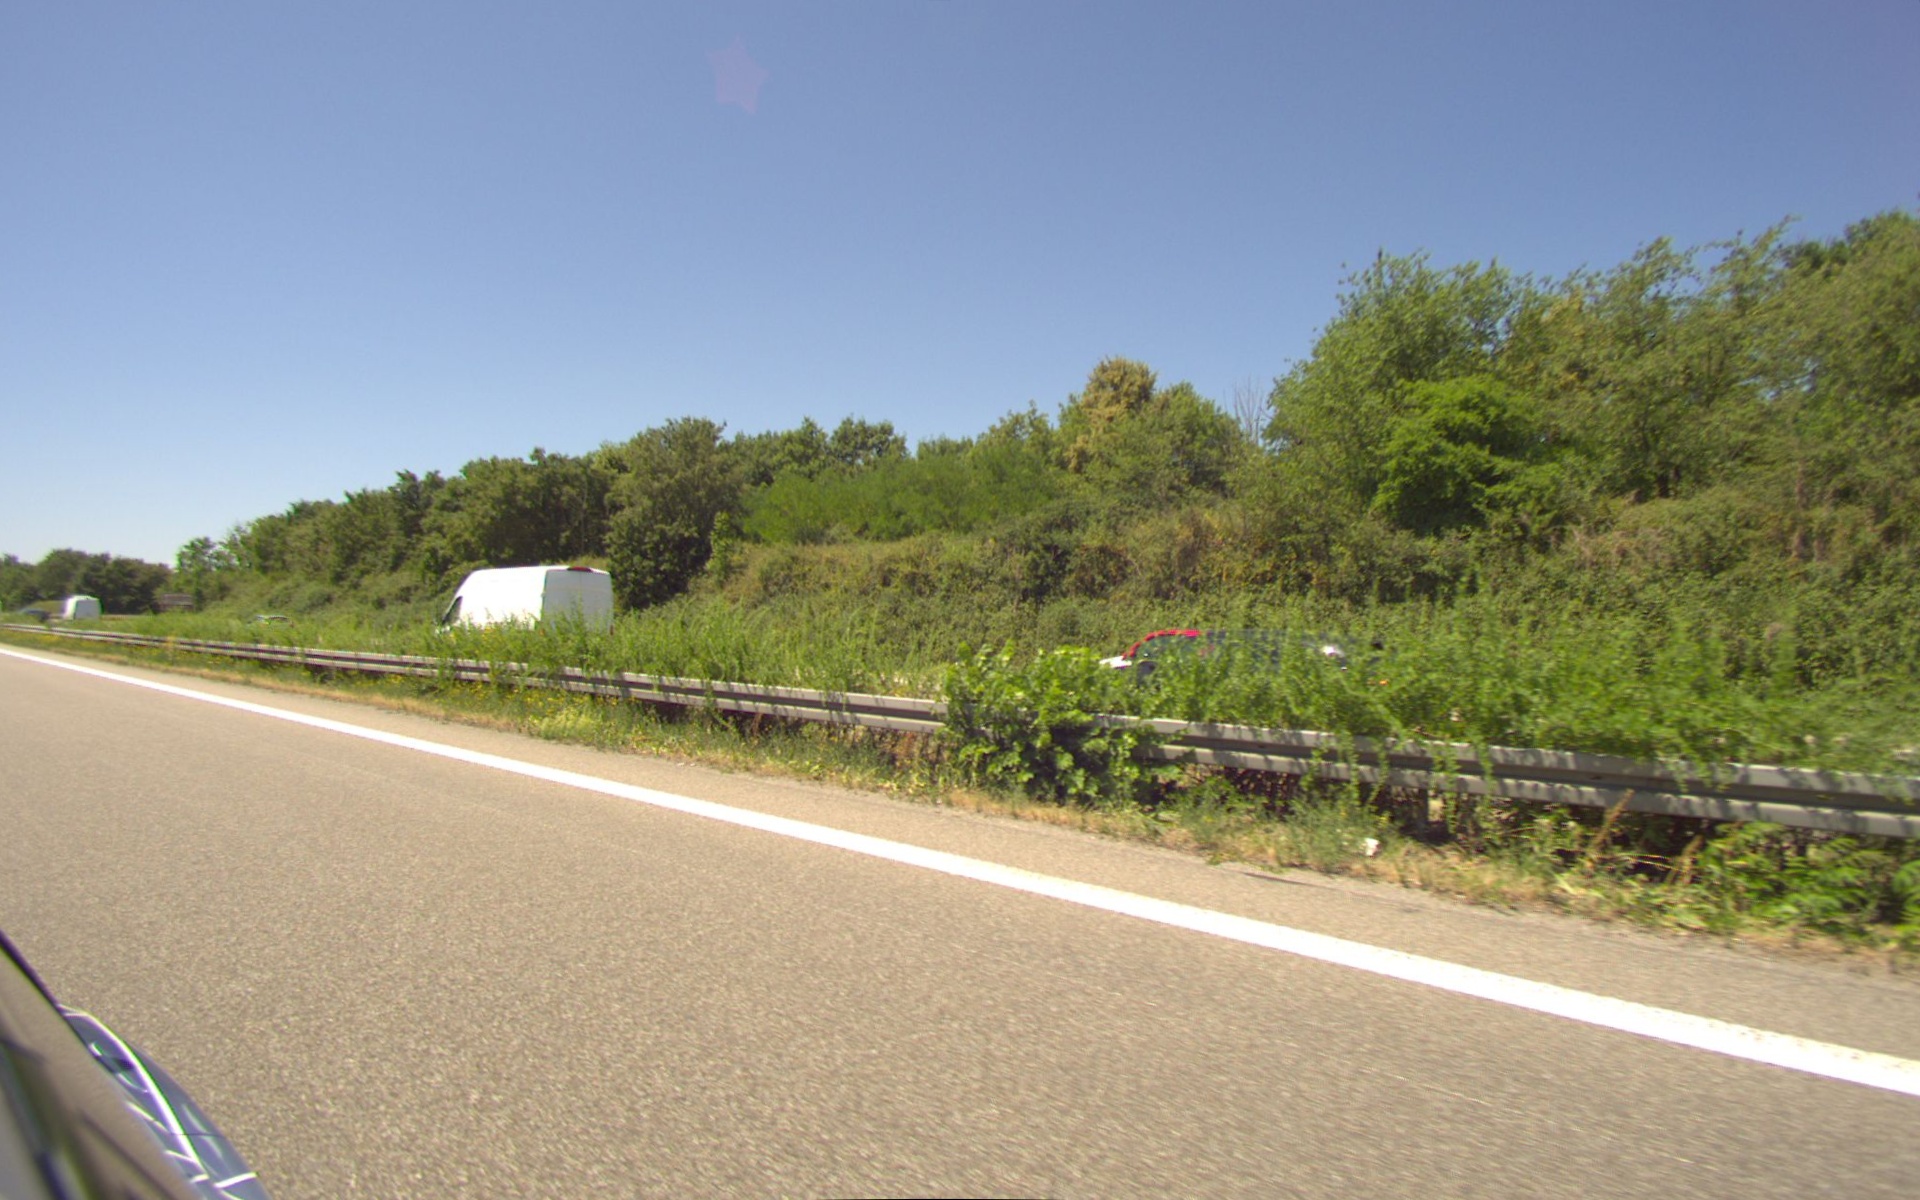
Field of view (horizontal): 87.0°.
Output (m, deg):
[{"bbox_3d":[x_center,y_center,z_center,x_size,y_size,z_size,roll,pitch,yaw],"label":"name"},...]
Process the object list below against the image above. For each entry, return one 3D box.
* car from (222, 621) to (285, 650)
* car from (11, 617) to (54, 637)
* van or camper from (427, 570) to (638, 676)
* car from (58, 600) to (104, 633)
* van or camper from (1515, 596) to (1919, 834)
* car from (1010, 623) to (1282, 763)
[{"bbox_3d":[-40.263,1.982,57.633,4.446,1.519,1.920,-1,0,41],"label":"car"},{"bbox_3d":[-74.114,2.130,80.844,5.041,1.579,1.973,-1,-2,41],"label":"car"},{"bbox_3d":[-11.041,0.536,25.838,6.333,2.383,2.400,-1,0,41],"label":"van or camper"},{"bbox_3d":[-77.250,1.494,88.938,6.654,2.767,2.014,-1,-3,41],"label":"car"},{"bbox_3d":[7.659,0.872,8.387,5.057,1.764,1.972,-1,-2,42],"label":"van or camper"},{"bbox_3d":[3.110,1.456,17.373,4.174,2.029,1.972,-1,0,42],"label":"car"}]
